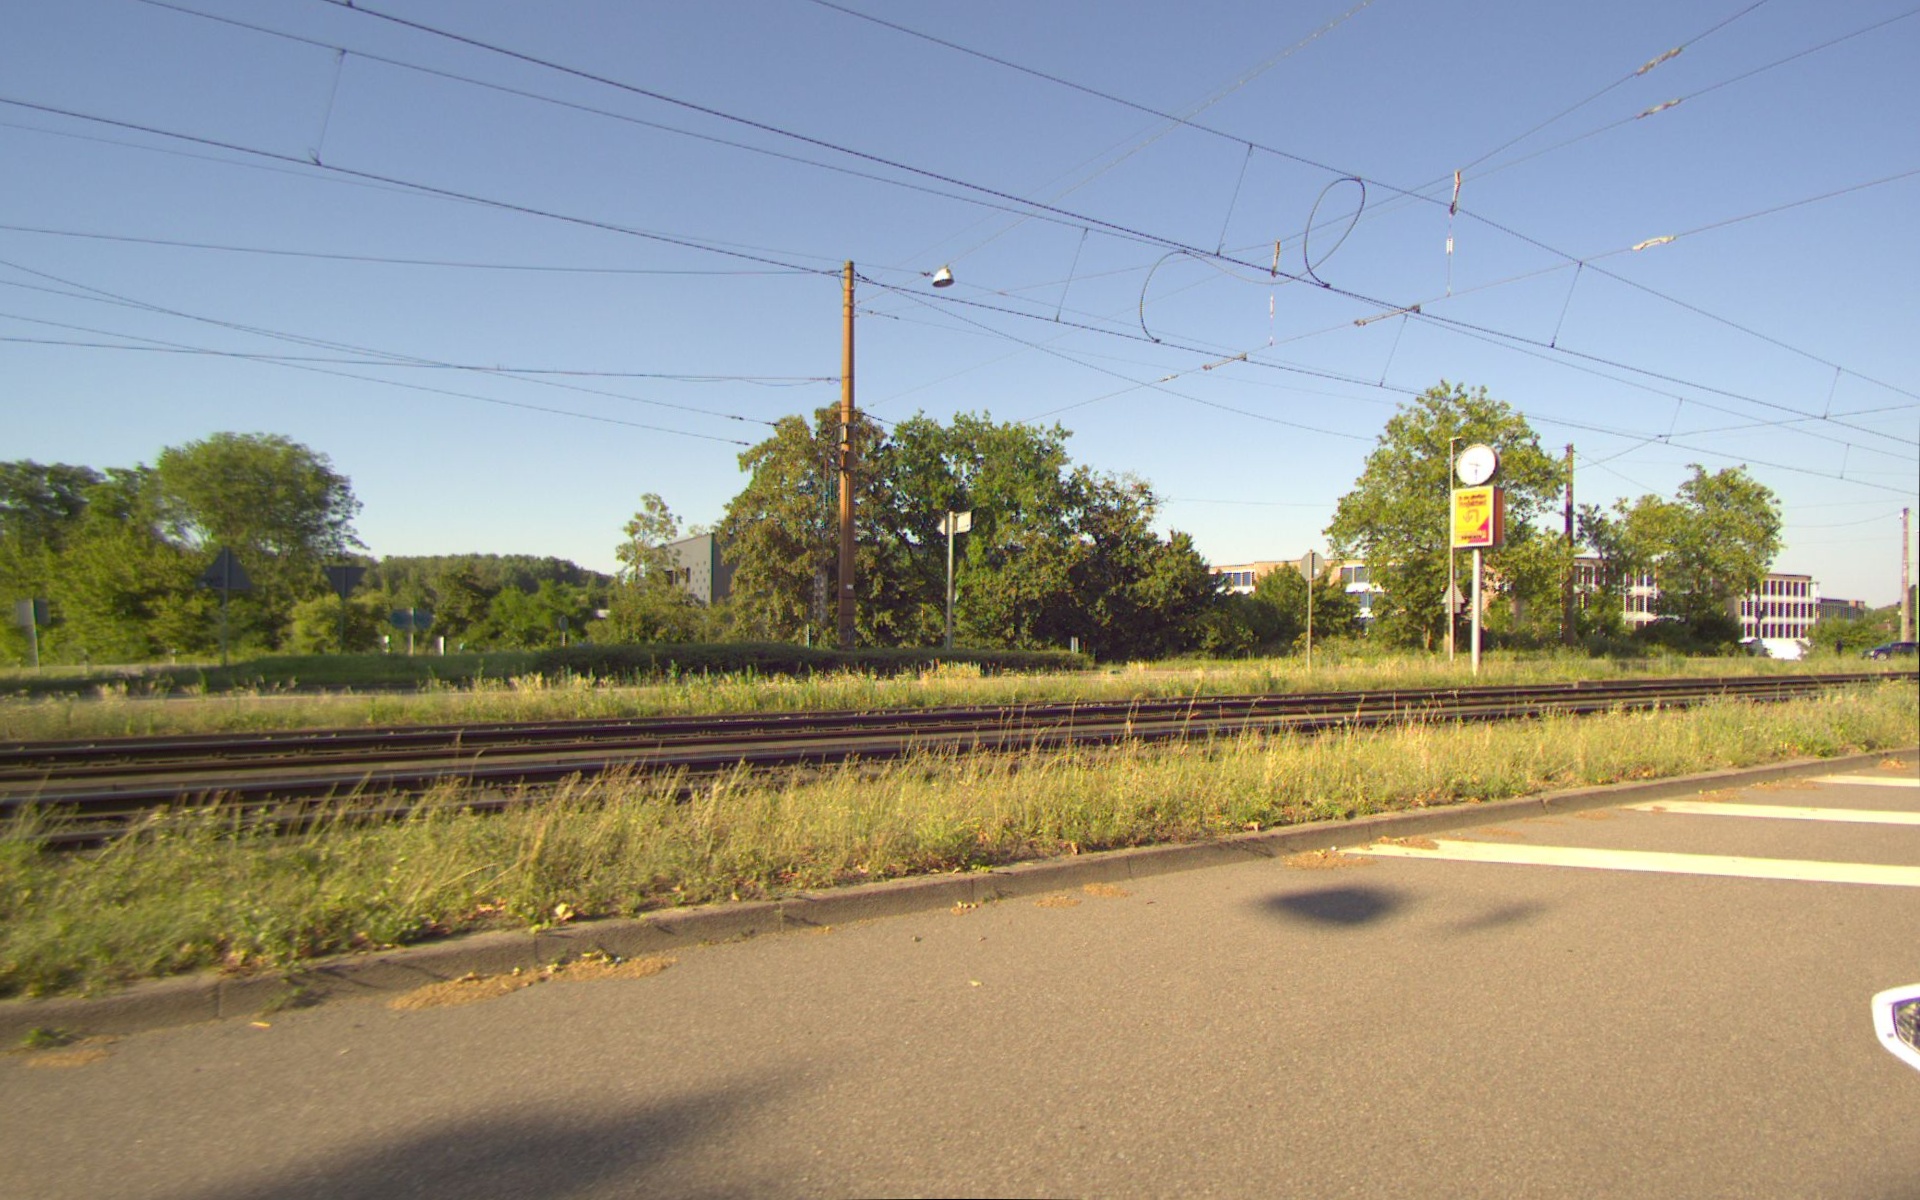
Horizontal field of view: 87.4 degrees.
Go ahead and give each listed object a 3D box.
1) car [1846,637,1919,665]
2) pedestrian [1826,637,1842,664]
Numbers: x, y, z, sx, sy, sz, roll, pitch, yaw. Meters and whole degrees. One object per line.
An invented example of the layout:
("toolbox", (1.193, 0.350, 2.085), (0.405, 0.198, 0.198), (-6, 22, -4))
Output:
("car", (70.003, 3.827, 75.357), (5.050, 1.839, 1.943), (2, 0, 33))
("pedestrian", (62.233, 3.595, 71.498), (0.639, 1.845, 0.541), (2, 0, -8))
